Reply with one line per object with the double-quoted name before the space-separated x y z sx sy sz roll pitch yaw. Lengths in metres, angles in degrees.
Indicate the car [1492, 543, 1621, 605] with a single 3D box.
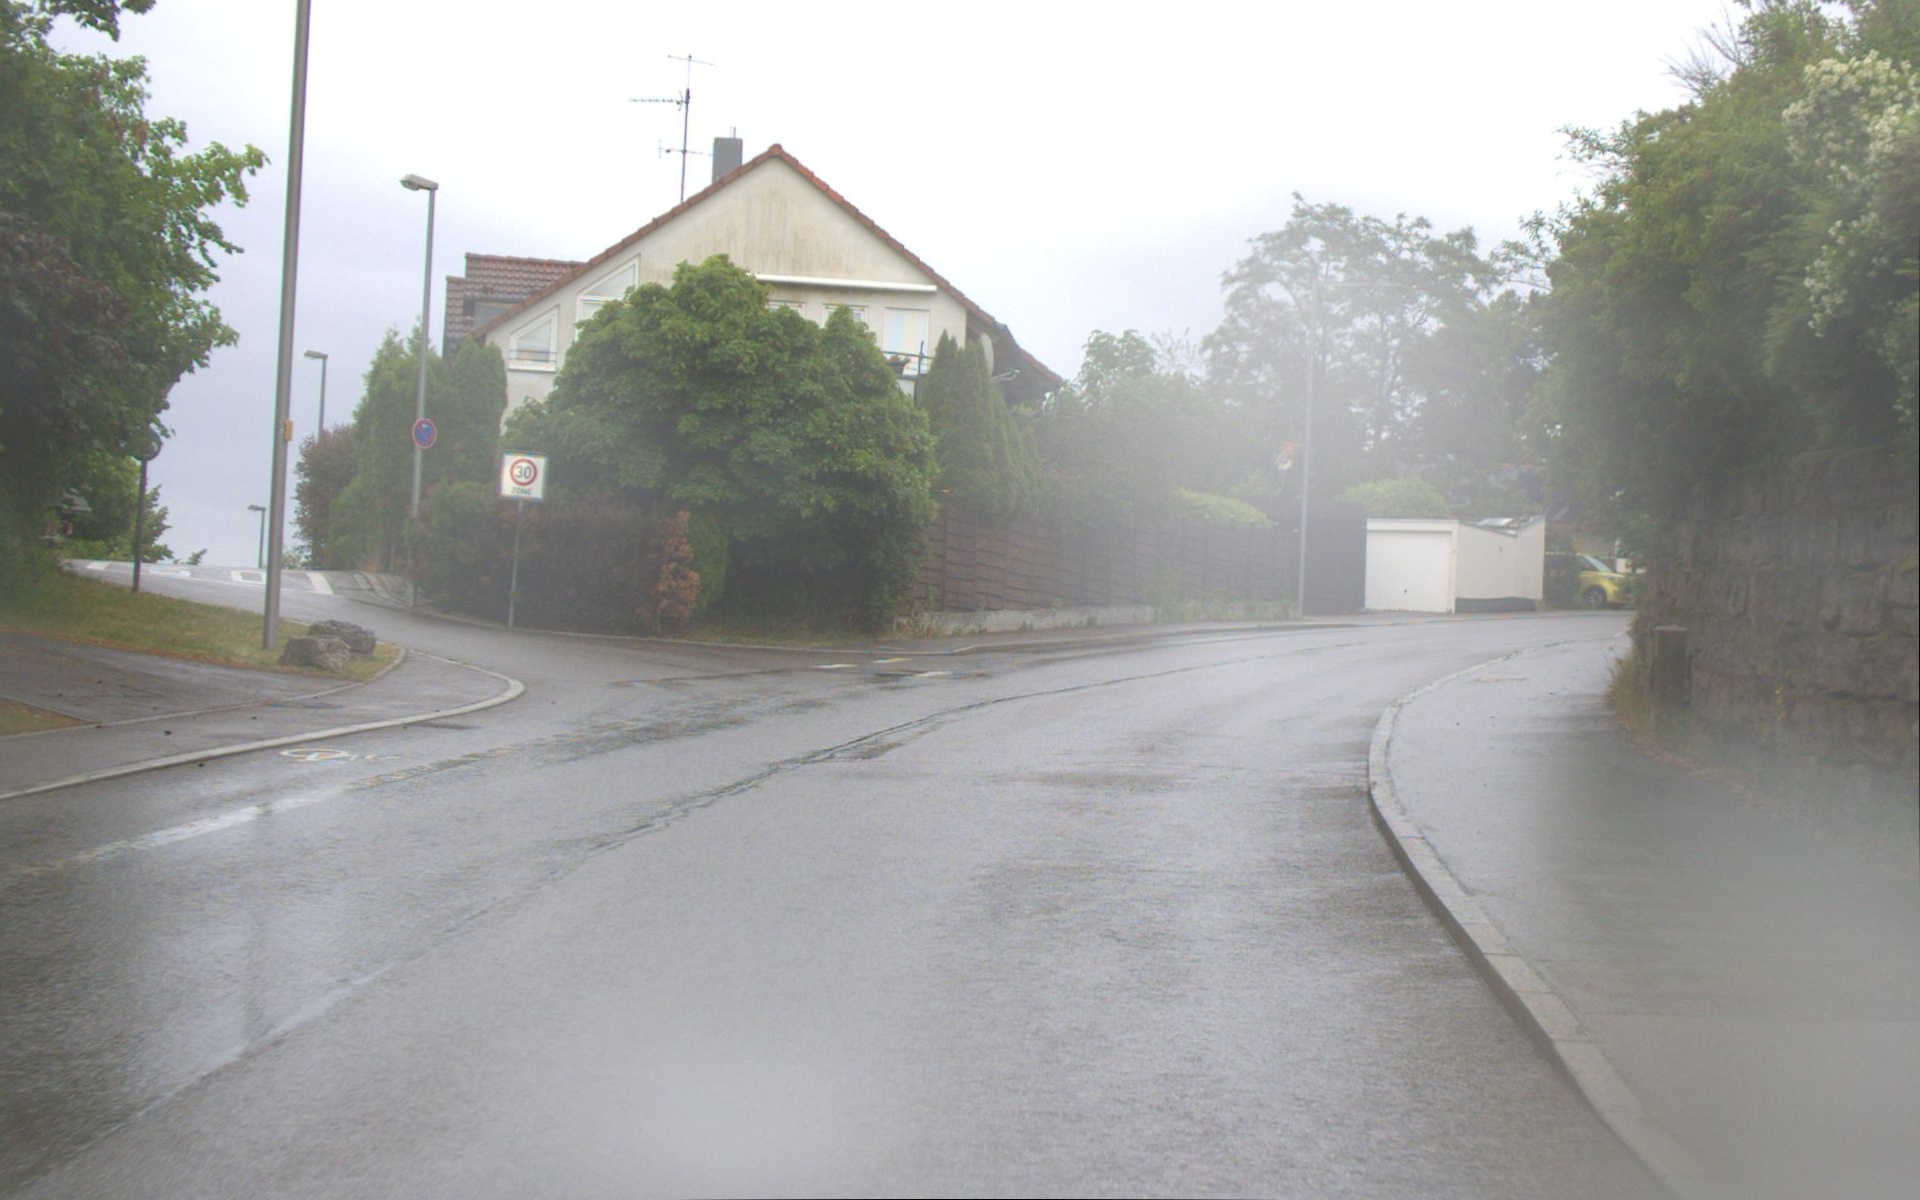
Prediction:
"car" 19.643 -0.857 113.213 3.839 1.901 1.534 3 1 30
